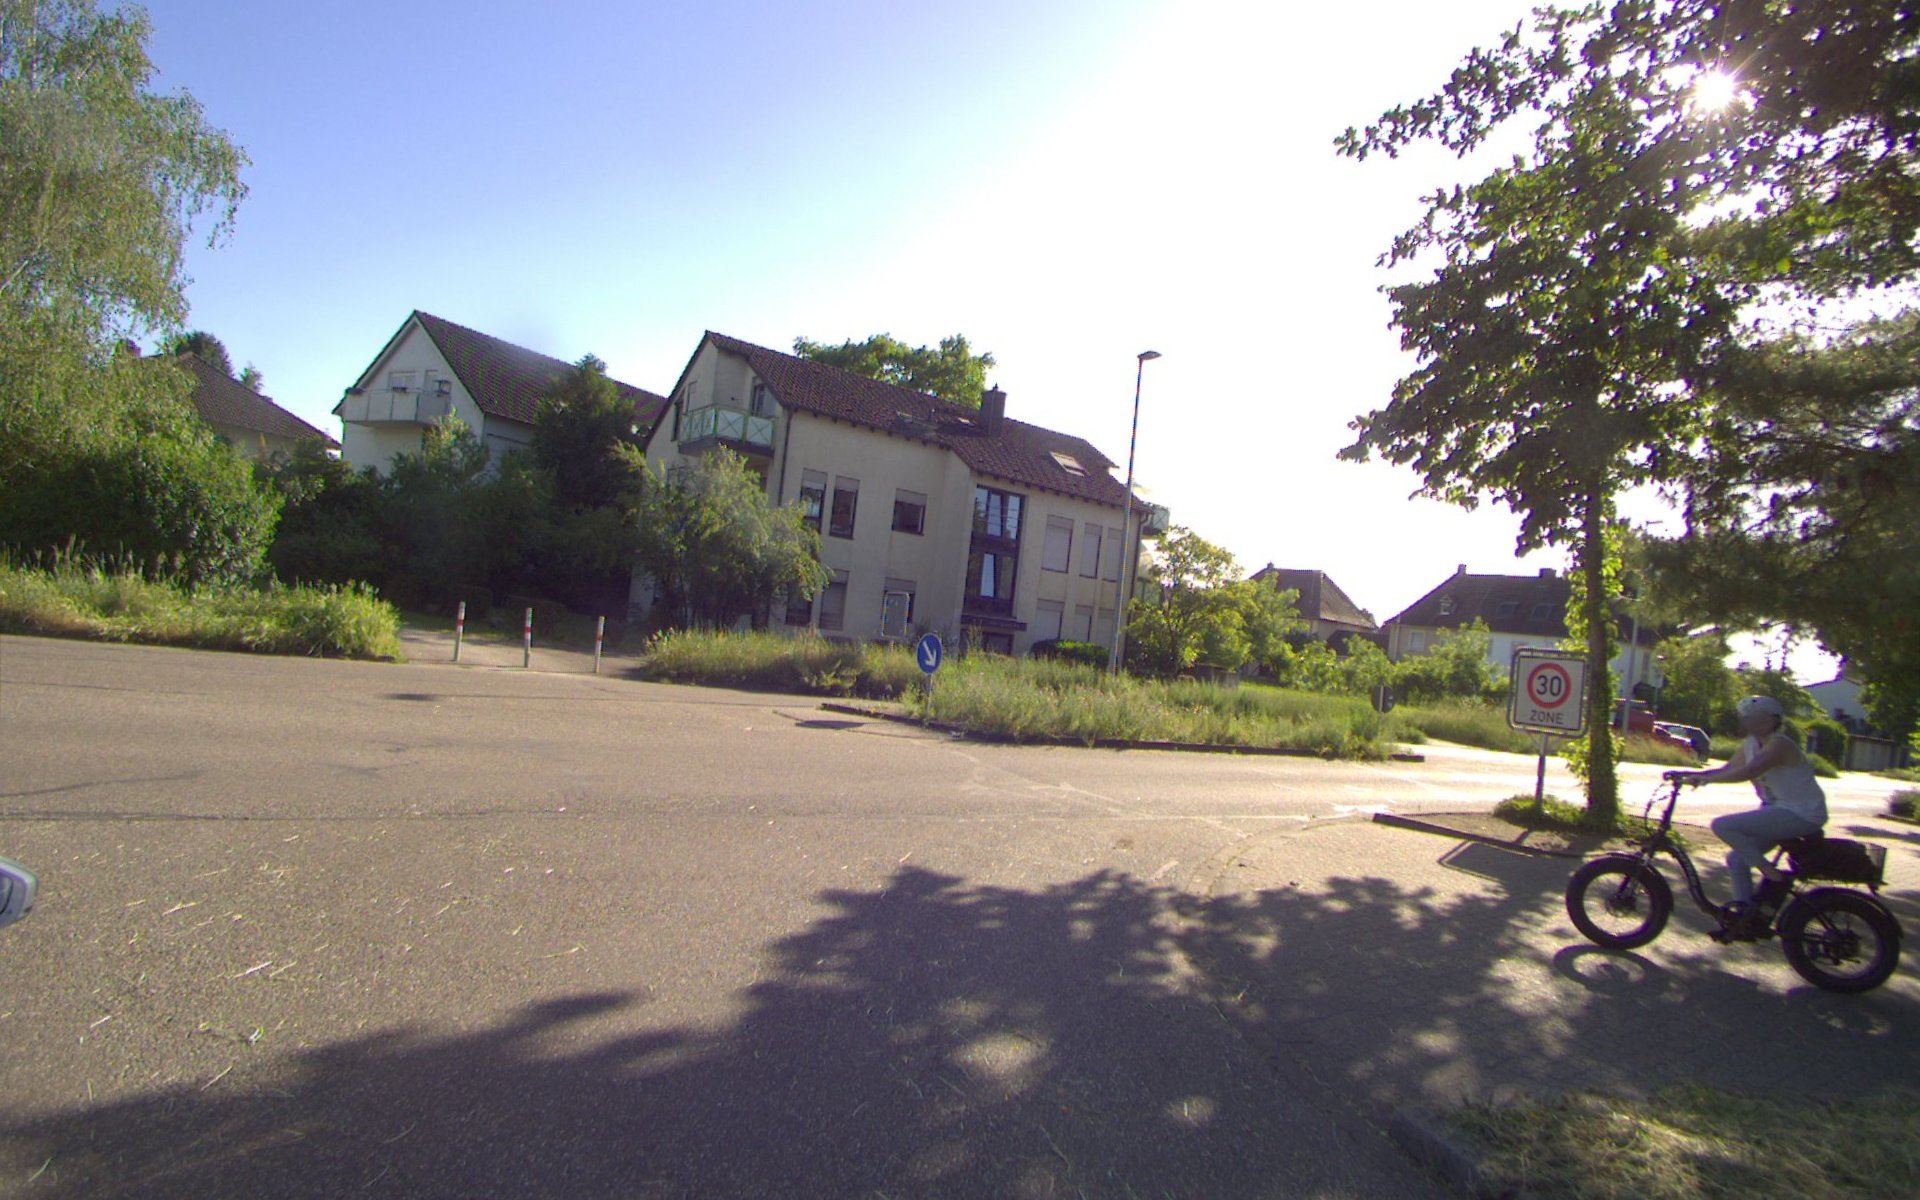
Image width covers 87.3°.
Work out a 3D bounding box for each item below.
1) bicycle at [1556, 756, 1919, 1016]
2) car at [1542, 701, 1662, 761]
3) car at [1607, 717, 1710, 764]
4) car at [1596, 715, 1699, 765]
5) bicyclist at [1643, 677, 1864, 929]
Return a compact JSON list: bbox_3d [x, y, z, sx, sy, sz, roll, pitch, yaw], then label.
[{"bbox_3d":[4.898,1.727,6.278,1.863,1.159,0.458,7,0,23],"label":"bicycle"},{"bbox_3d":[25.507,5.181,40.119,3.582,1.737,1.749,6,-1,19],"label":"car"},{"bbox_3d":[30.206,6.068,43.628,3.479,1.433,1.677,6,-1,33],"label":"car"},{"bbox_3d":[28.305,5.740,41.522,3.340,1.458,1.612,6,-1,33],"label":"car"},{"bbox_3d":[4.915,1.213,6.295,0.823,1.363,0.638,6,0,22],"label":"bicyclist"}]
